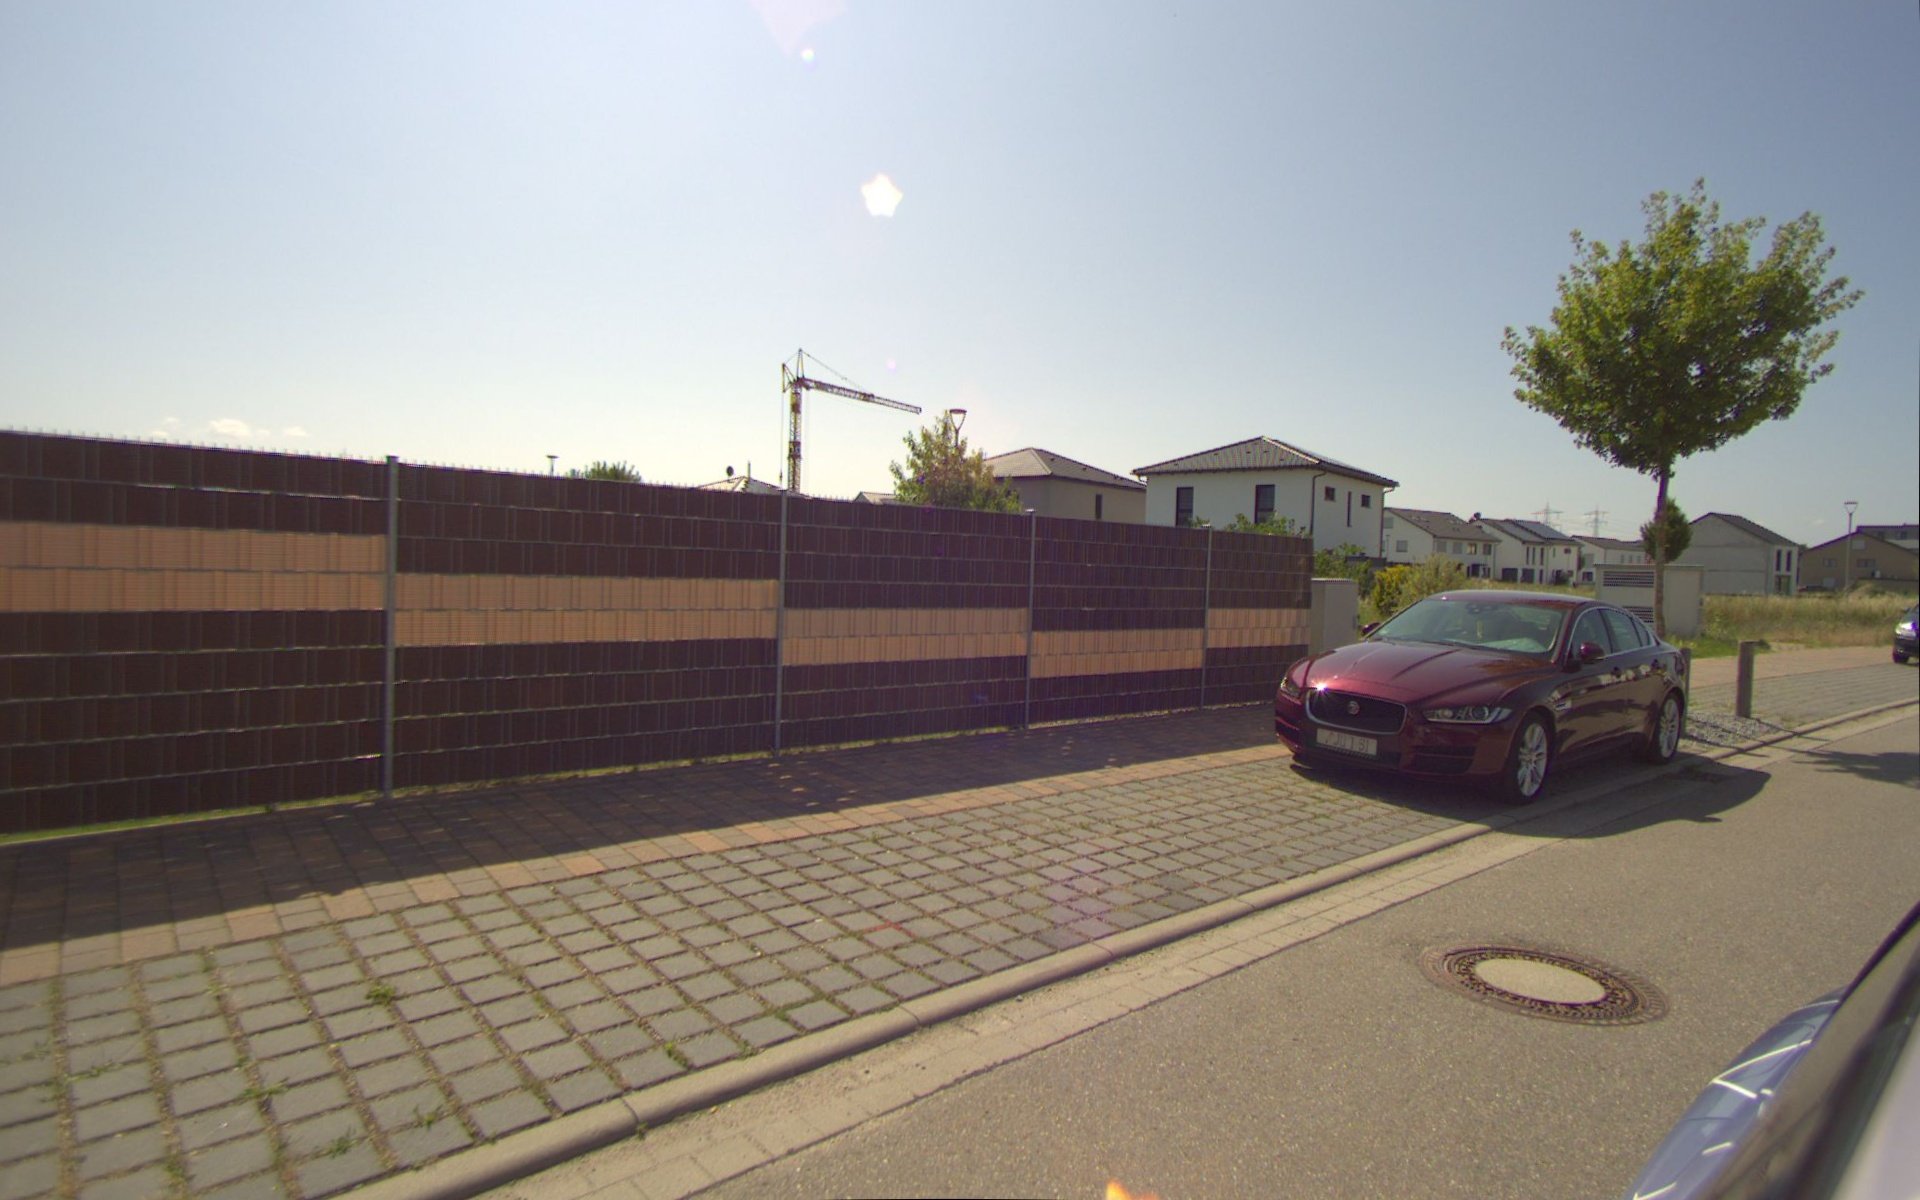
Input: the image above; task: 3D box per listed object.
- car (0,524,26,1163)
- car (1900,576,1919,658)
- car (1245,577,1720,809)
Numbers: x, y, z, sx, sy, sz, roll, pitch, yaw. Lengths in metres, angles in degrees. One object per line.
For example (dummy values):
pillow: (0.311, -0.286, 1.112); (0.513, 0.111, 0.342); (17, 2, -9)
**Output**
car: (-3.929, 0.577, 0.925); (4.440, 1.455, 1.767); (-1, 4, -41)
car: (19.537, 0.360, 19.312); (3.606, 1.492, 1.604); (0, 4, -36)
car: (4.467, 0.553, 8.347); (4.492, 1.380, 1.759); (0, 3, -38)
